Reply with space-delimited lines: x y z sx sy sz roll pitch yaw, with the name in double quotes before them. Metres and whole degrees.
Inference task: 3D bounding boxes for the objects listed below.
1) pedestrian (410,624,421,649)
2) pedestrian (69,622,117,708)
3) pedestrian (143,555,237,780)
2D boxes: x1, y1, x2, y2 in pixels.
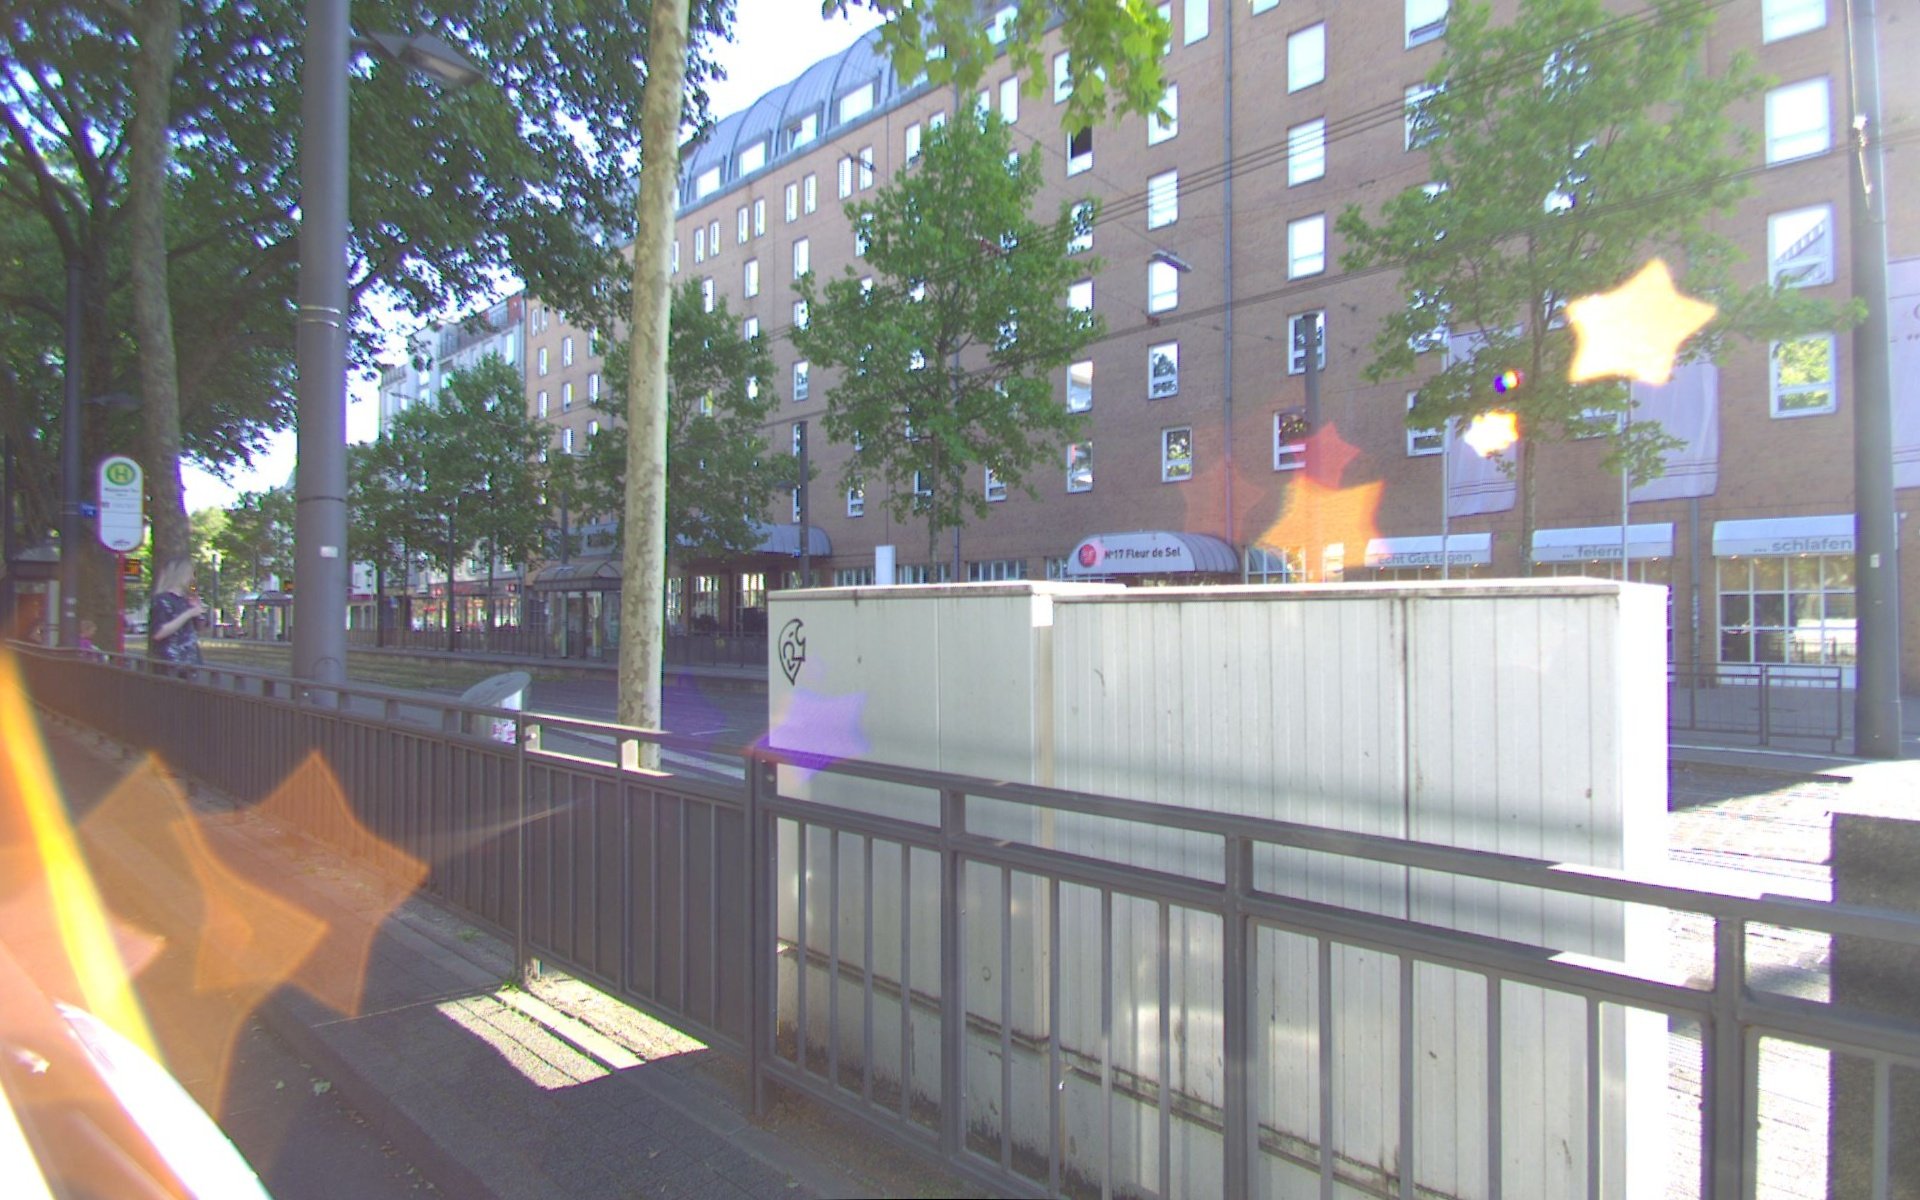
"pedestrian" -39.209 2.623 72.900 0.574 1.748 0.497 -2 -2 43
"pedestrian" -13.935 1.032 16.272 0.534 1.327 0.525 -1 0 -37
"pedestrian" -6.597 0.550 8.671 0.524 1.848 0.536 -1 0 43
